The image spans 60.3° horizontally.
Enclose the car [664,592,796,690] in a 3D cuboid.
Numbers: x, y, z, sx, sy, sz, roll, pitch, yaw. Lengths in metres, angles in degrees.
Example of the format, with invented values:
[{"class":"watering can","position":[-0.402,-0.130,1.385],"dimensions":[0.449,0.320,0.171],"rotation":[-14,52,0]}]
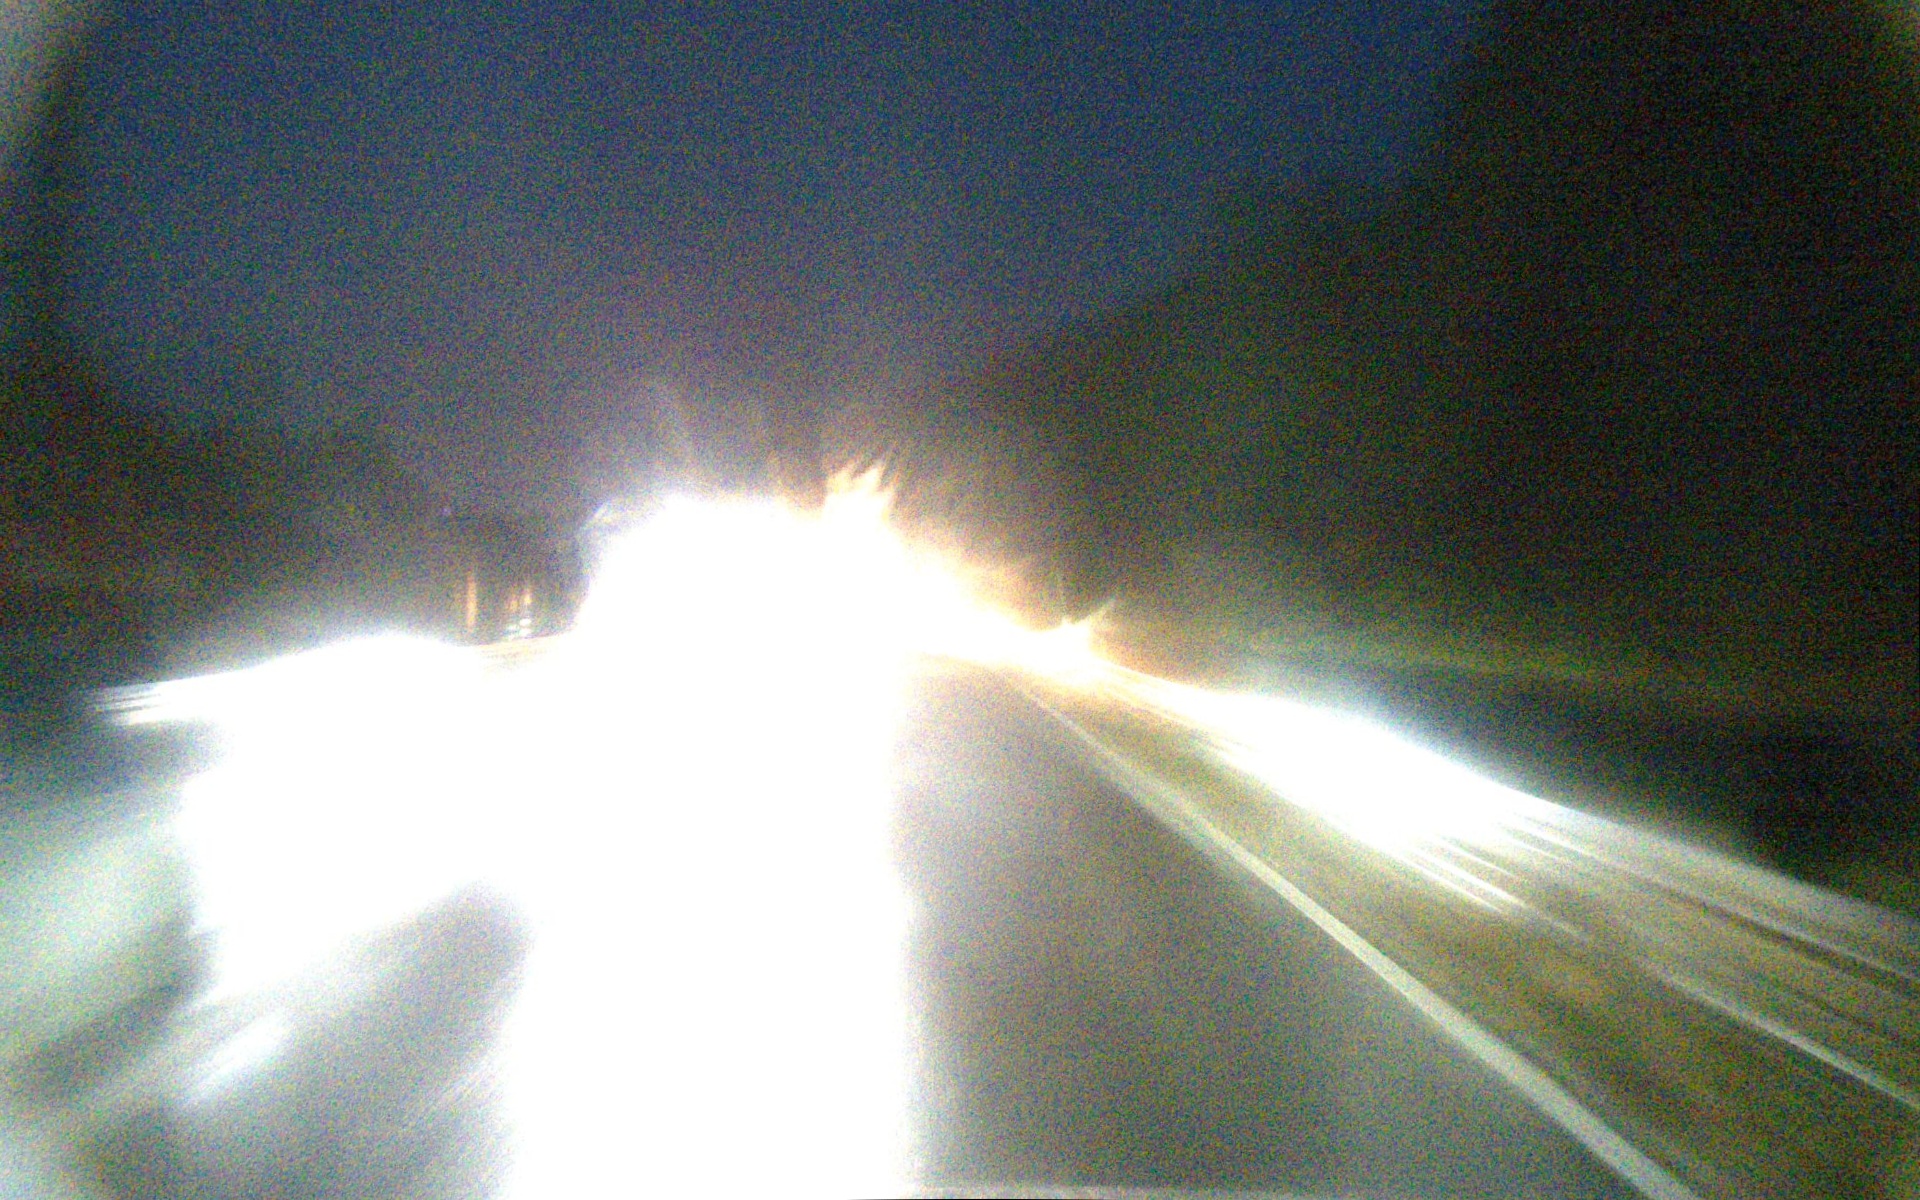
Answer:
[{"class":"car","position":[-3.798,0.634,27.900],"dimensions":[1.796,1.509,4.067],"rotation":[1,0,-2]}]

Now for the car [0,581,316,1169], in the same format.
[{"class":"car","position":[-3.352,0.695,4.206],"dimensions":[1.795,1.509,4.351],"rotation":[1,0,-1]}]

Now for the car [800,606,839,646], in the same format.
[{"class":"car","position":[-6.999,1.276,82.847],"dimensions":[1.796,1.903,4.426],"rotation":[1,0,-4]}]
